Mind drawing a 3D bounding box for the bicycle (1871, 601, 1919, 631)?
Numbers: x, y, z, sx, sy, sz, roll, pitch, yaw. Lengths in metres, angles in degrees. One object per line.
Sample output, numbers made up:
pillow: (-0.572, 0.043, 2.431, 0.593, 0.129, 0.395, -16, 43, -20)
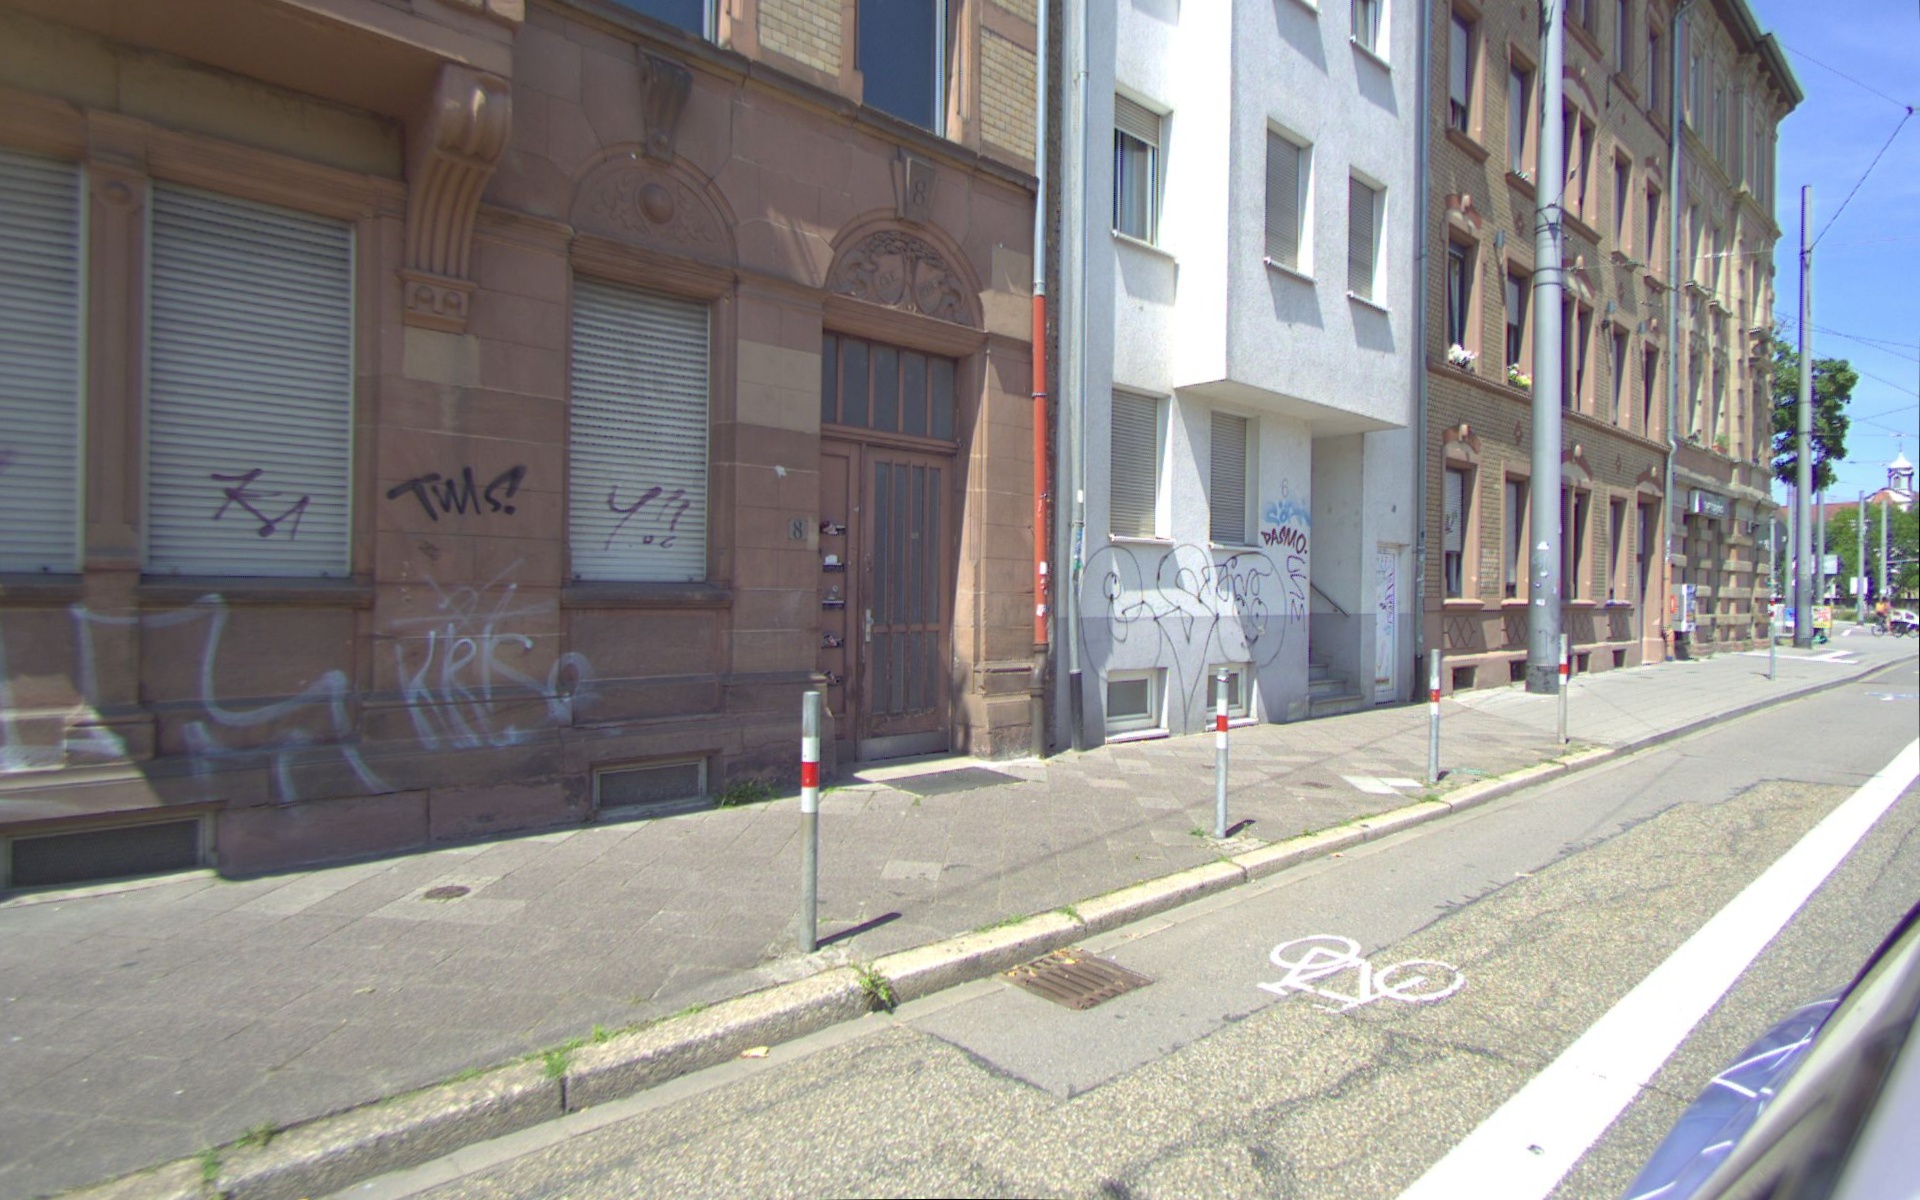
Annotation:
bicycle: (42.237, 0.706, 45.124, 2.182, 1.266, 1.098, 1, 0, 6)

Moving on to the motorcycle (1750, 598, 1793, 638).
motorcycle: (29.601, 0.628, 36.914, 2.550, 1.379, 0.765, 0, 1, -41)

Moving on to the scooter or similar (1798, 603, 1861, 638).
scooter or similar: (30.448, 0.707, 35.462, 1.506, 1.170, 0.710, 1, 0, 21)

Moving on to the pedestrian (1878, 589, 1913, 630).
pedestrian: (41.696, 0.398, 45.116, 0.810, 1.797, 0.813, 0, 0, 5)
